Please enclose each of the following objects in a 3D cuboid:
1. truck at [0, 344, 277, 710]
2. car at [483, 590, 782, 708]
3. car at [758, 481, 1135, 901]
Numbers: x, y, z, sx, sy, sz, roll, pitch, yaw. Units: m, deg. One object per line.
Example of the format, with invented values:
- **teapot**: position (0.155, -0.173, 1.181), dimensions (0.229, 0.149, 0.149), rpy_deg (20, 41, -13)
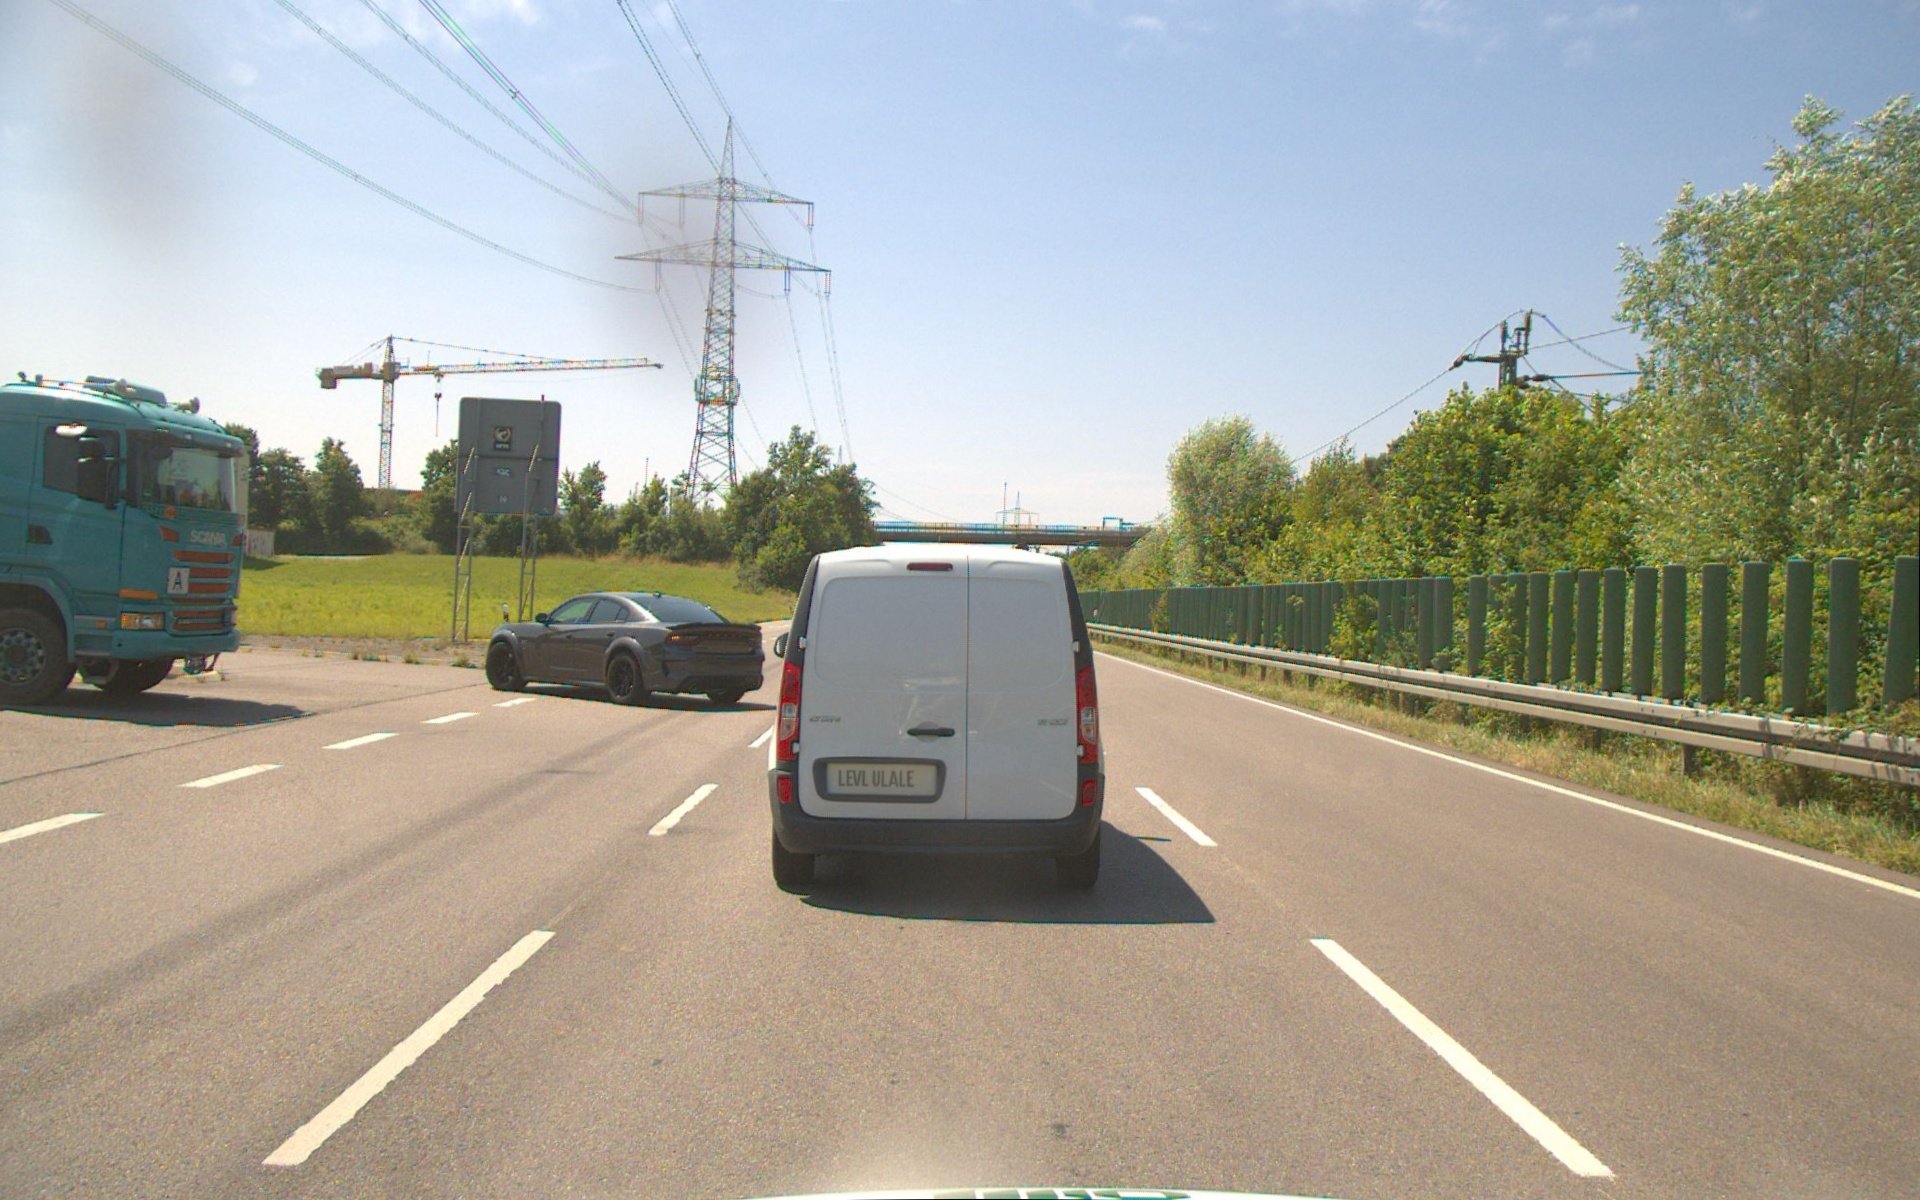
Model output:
- **truck**: position (-12.329, -0.974, 18.977), dimensions (7.742, 3.799, 2.498), rpy_deg (4, 0, 1)
- **car**: position (-4.731, 0.643, 23.488), dimensions (4.573, 1.421, 1.849), rpy_deg (2, 0, 44)
- **car**: position (-0.178, 0.441, 9.963), dimensions (1.791, 2.005, 3.997), rpy_deg (1, 0, -4)
